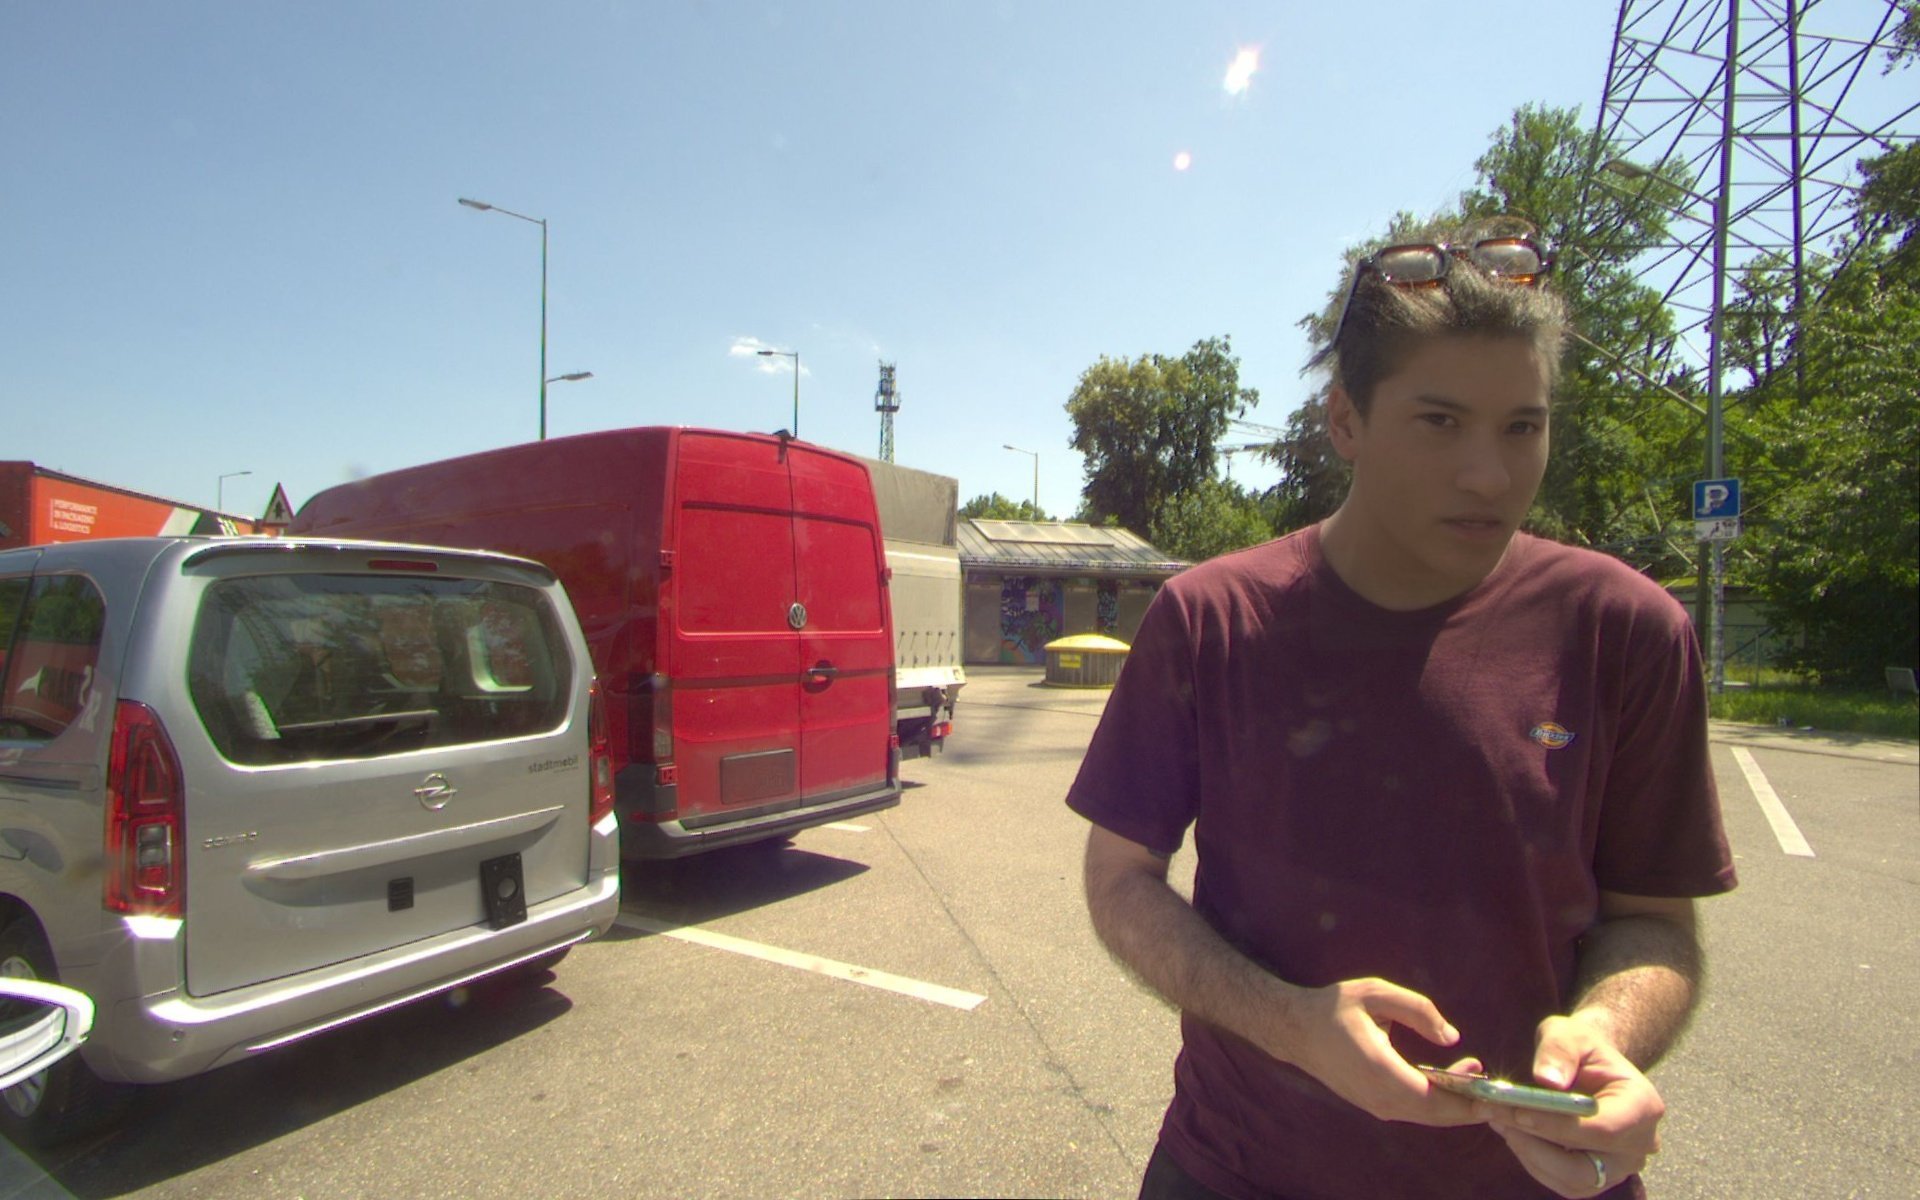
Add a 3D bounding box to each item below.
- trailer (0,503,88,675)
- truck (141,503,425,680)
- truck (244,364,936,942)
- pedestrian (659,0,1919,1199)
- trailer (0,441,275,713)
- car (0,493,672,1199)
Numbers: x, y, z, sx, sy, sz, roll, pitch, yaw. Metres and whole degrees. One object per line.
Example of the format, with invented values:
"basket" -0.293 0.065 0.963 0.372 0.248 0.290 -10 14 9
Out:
"trailer" -28.776 -0.283 28.021 13.374 4.178 2.871 0 -1 33
"truck" -18.967 -0.074 29.212 2.643 4.181 10.600 1 -1 -10
"truck" -2.844 0.267 6.985 5.233 2.658 1.987 0 -1 37
"pedestrian" 0.379 0.530 0.870 0.926 1.798 0.827 1 -1 28
"trailer" -17.185 -0.313 19.855 2.791 4.313 8.677 1 -1 -12
"car" -3.331 0.642 4.200 3.938 1.776 1.824 0 -1 29
